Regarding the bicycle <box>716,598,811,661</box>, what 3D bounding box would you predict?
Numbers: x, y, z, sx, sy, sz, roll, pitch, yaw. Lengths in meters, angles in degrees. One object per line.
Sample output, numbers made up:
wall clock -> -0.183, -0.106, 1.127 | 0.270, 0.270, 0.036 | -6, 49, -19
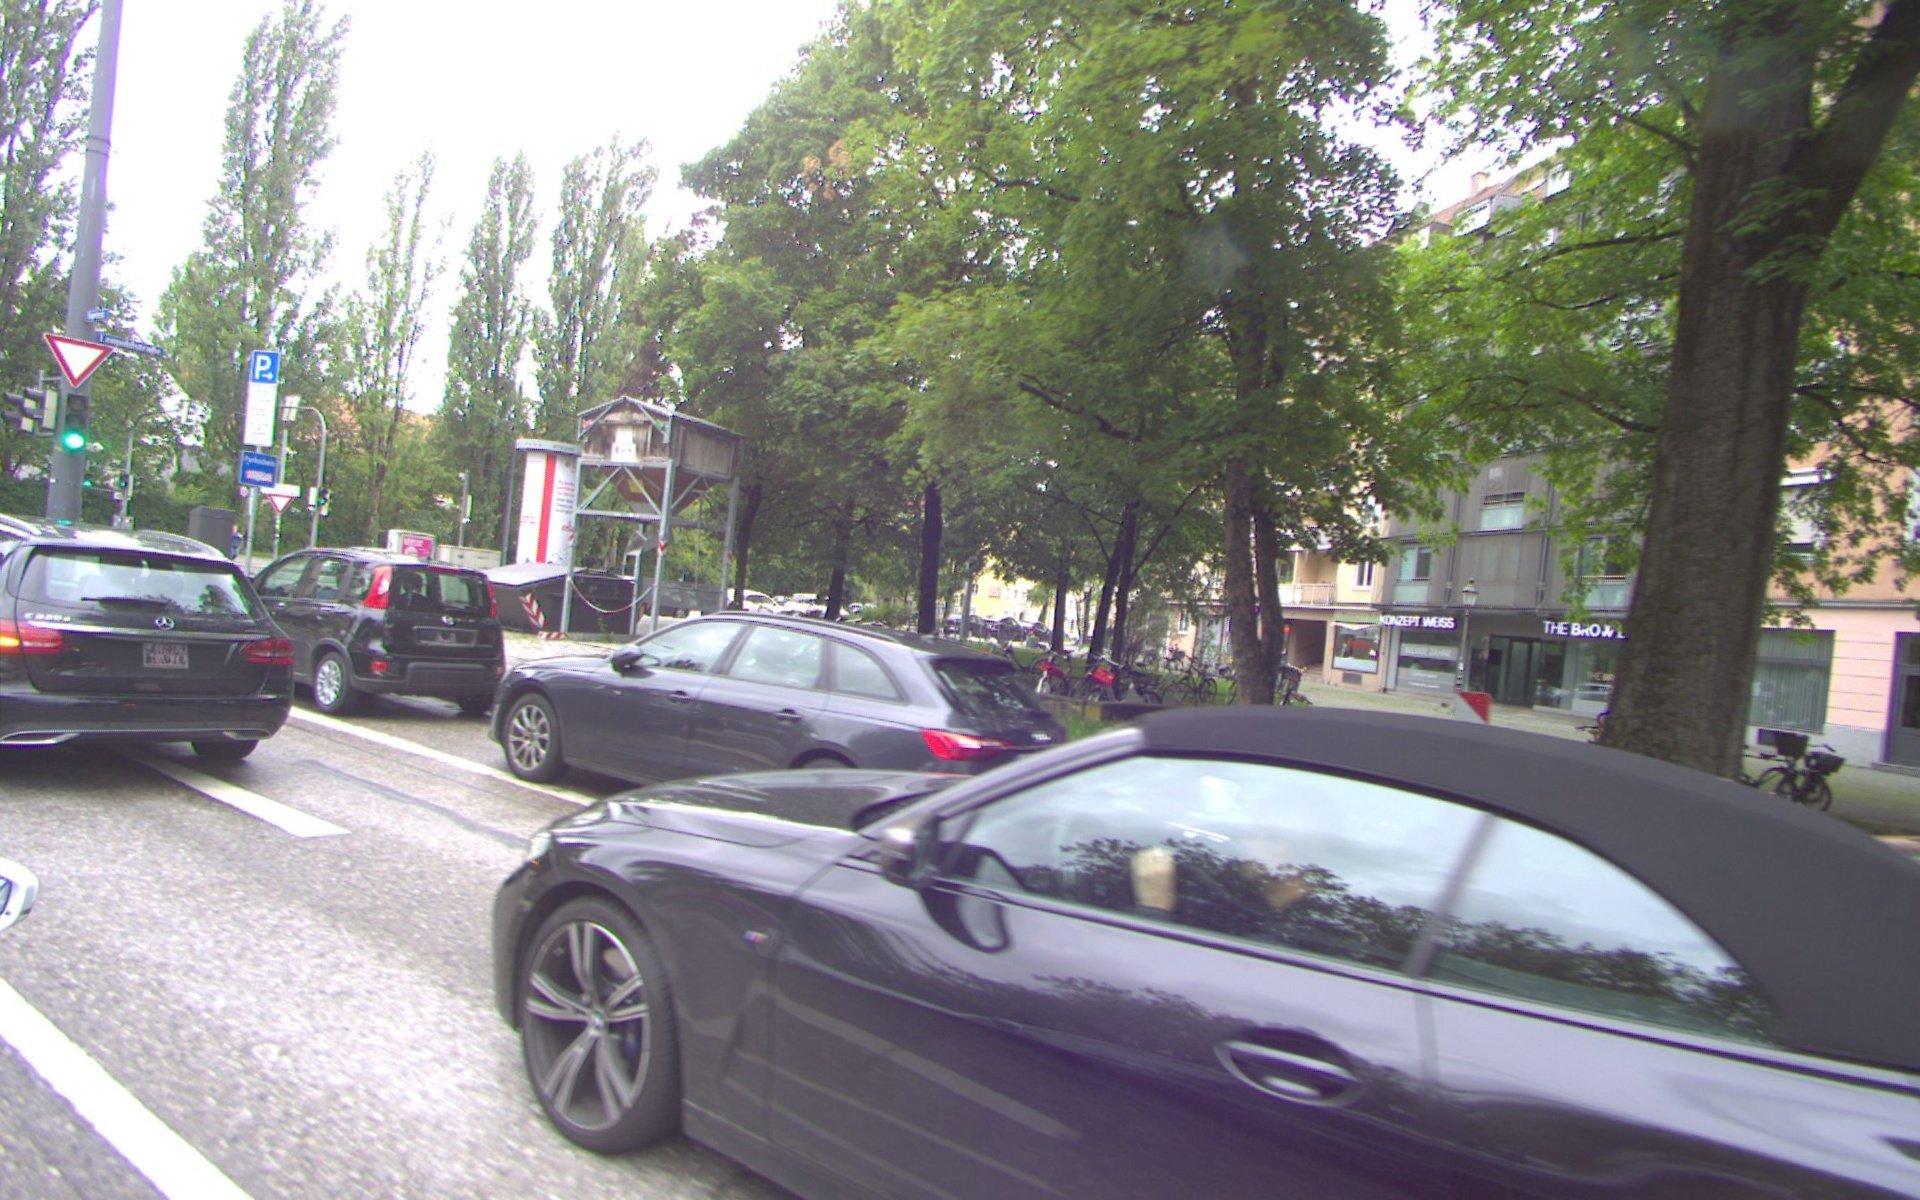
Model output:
bicycle -> -3.754, 0.594, 19.436 | 0.619, 1.028, 2.241 | 6, -2, 21

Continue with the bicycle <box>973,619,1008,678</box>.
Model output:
bicycle -> 0.498, 0.799, 16.816 | 0.307, 0.904, 1.412 | 6, -2, -5

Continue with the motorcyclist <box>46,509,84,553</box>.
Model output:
motorcyclist -> -32.035, -2.476, 36.010 | 0.866, 1.460, 0.620 | 6, -1, 27

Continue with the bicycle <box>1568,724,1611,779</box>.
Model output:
bicycle -> 9.207, 2.207, 14.699 | 0.314, 0.732, 1.174 | 5, -3, 40

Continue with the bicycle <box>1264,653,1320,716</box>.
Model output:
bicycle -> 8.777, 2.210, 26.714 | 0.619, 1.374, 2.467 | 6, 1, 3

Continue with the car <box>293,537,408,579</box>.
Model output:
car -> -29.307, -1.981, 48.514 | 1.757, 1.504, 4.344 | 6, -1, 30

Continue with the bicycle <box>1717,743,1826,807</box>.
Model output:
bicycle -> 11.983, 2.574, 14.884 | 0.316, 0.732, 1.168 | 7, -2, -36

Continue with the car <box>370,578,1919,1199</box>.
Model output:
car -> 0.724, 0.906, 2.499 | 4.720, 1.406, 1.725 | 6, 0, 32

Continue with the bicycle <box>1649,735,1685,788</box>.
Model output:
bicycle -> 10.859, 2.466, 15.440 | 0.314, 0.732, 1.174 | 5, -3, 40

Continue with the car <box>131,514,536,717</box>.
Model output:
car -> -6.727, 0.096, 10.657 | 4.480, 1.568, 1.832 | 6, 0, 33

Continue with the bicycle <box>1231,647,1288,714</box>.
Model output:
bicycle -> 7.383, 1.963, 24.911 | 0.619, 1.374, 2.467 | 6, 1, 3

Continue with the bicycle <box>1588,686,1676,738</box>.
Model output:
bicycle -> 20.347, 3.363, 30.525 | 0.500, 1.304, 2.239 | 7, -2, -21

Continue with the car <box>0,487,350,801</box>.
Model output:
car -> -6.378, 0.089, 6.806 | 4.626, 1.567, 1.867 | 6, -2, 32

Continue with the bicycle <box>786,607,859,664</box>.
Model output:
bicycle -> -2.472, 0.653, 18.239 | 0.308, 0.904, 1.408 | 5, -2, 38

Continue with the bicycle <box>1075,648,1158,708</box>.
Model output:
bicycle -> 2.769, 1.374, 17.906 | 1.392, 0.904, 0.312 | 5, -2, 38

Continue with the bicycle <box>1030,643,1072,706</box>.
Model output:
bicycle -> 1.412, 1.152, 15.813 | 0.307, 0.904, 1.412 | 6, -2, -5

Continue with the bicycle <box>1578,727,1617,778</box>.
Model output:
bicycle -> 9.992, 2.378, 15.753 | 0.314, 0.732, 1.174 | 5, -3, 40

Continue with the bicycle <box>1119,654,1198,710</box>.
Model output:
bicycle -> 3.751, 1.544, 19.097 | 1.392, 0.904, 0.312 | 5, -2, 38

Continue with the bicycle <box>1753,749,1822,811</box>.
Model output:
bicycle -> 10.932, 2.377, 13.277 | 1.167, 0.732, 0.316 | 8, -2, -33

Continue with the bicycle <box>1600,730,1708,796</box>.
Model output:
bicycle -> 9.699, 2.267, 14.084 | 1.163, 0.732, 0.317 | 5, -2, 43

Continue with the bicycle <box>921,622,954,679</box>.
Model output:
bicycle -> -0.384, 0.861, 17.364 | 0.307, 0.905, 1.413 | 6, -1, 6

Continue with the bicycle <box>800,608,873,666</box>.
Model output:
bicycle -> -2.194, 0.676, 18.006 | 0.308, 0.904, 1.408 | 5, -2, 38

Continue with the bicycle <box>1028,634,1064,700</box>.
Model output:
bicycle -> 1.938, 1.519, 23.052 | 0.619, 1.372, 2.472 | 6, -2, 4

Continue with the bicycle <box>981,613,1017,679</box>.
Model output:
bicycle -> 0.925, 1.020, 23.144 | 0.619, 1.374, 2.469 | 6, 0, 4

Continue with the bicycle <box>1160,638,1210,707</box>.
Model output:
bicycle -> 5.328, 1.677, 23.968 | 0.619, 1.374, 2.467 | 6, 1, 3

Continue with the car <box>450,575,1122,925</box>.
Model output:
car -> -1.375, 0.819, 7.186 | 4.564, 1.479, 1.770 | 6, 0, 30

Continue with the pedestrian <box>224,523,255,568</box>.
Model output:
pedestrian -> -28.829, -2.180, 40.245 | 0.692, 1.682, 0.550 | 7, -1, -18

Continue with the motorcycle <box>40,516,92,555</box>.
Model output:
motorcycle -> -31.960, -2.303, 35.963 | 1.994, 1.183, 0.630 | 6, -2, 27

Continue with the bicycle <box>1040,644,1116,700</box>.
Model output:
bicycle -> 2.253, 1.367, 19.093 | 1.395, 0.904, 0.311 | 8, -2, -25

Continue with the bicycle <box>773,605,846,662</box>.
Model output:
bicycle -> -2.744, 0.631, 18.459 | 0.308, 0.904, 1.408 | 5, -2, 38

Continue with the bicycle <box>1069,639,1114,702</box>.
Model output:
bicycle -> 2.052, 1.093, 15.862 | 0.307, 0.904, 1.412 | 6, -2, -5

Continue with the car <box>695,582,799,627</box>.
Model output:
car -> -8.647, 0.219, 41.227 | 1.701, 1.424, 4.370 | 6, -1, 27

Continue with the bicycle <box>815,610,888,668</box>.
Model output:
bicycle -> -1.904, 0.700, 17.792 | 0.308, 0.904, 1.408 | 5, -2, 38

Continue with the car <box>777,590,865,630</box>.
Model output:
car -> -6.302, 0.476, 45.992 | 1.701, 1.424, 4.370 | 6, -1, 27

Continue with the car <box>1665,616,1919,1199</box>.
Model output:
car -> 5.095, 1.240, 3.031 | 4.475, 1.842, 1.935 | 6, 0, 28

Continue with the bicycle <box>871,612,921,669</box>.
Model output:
bicycle -> -1.104, 0.720, 17.572 | 0.307, 0.904, 1.414 | 6, -2, 17
